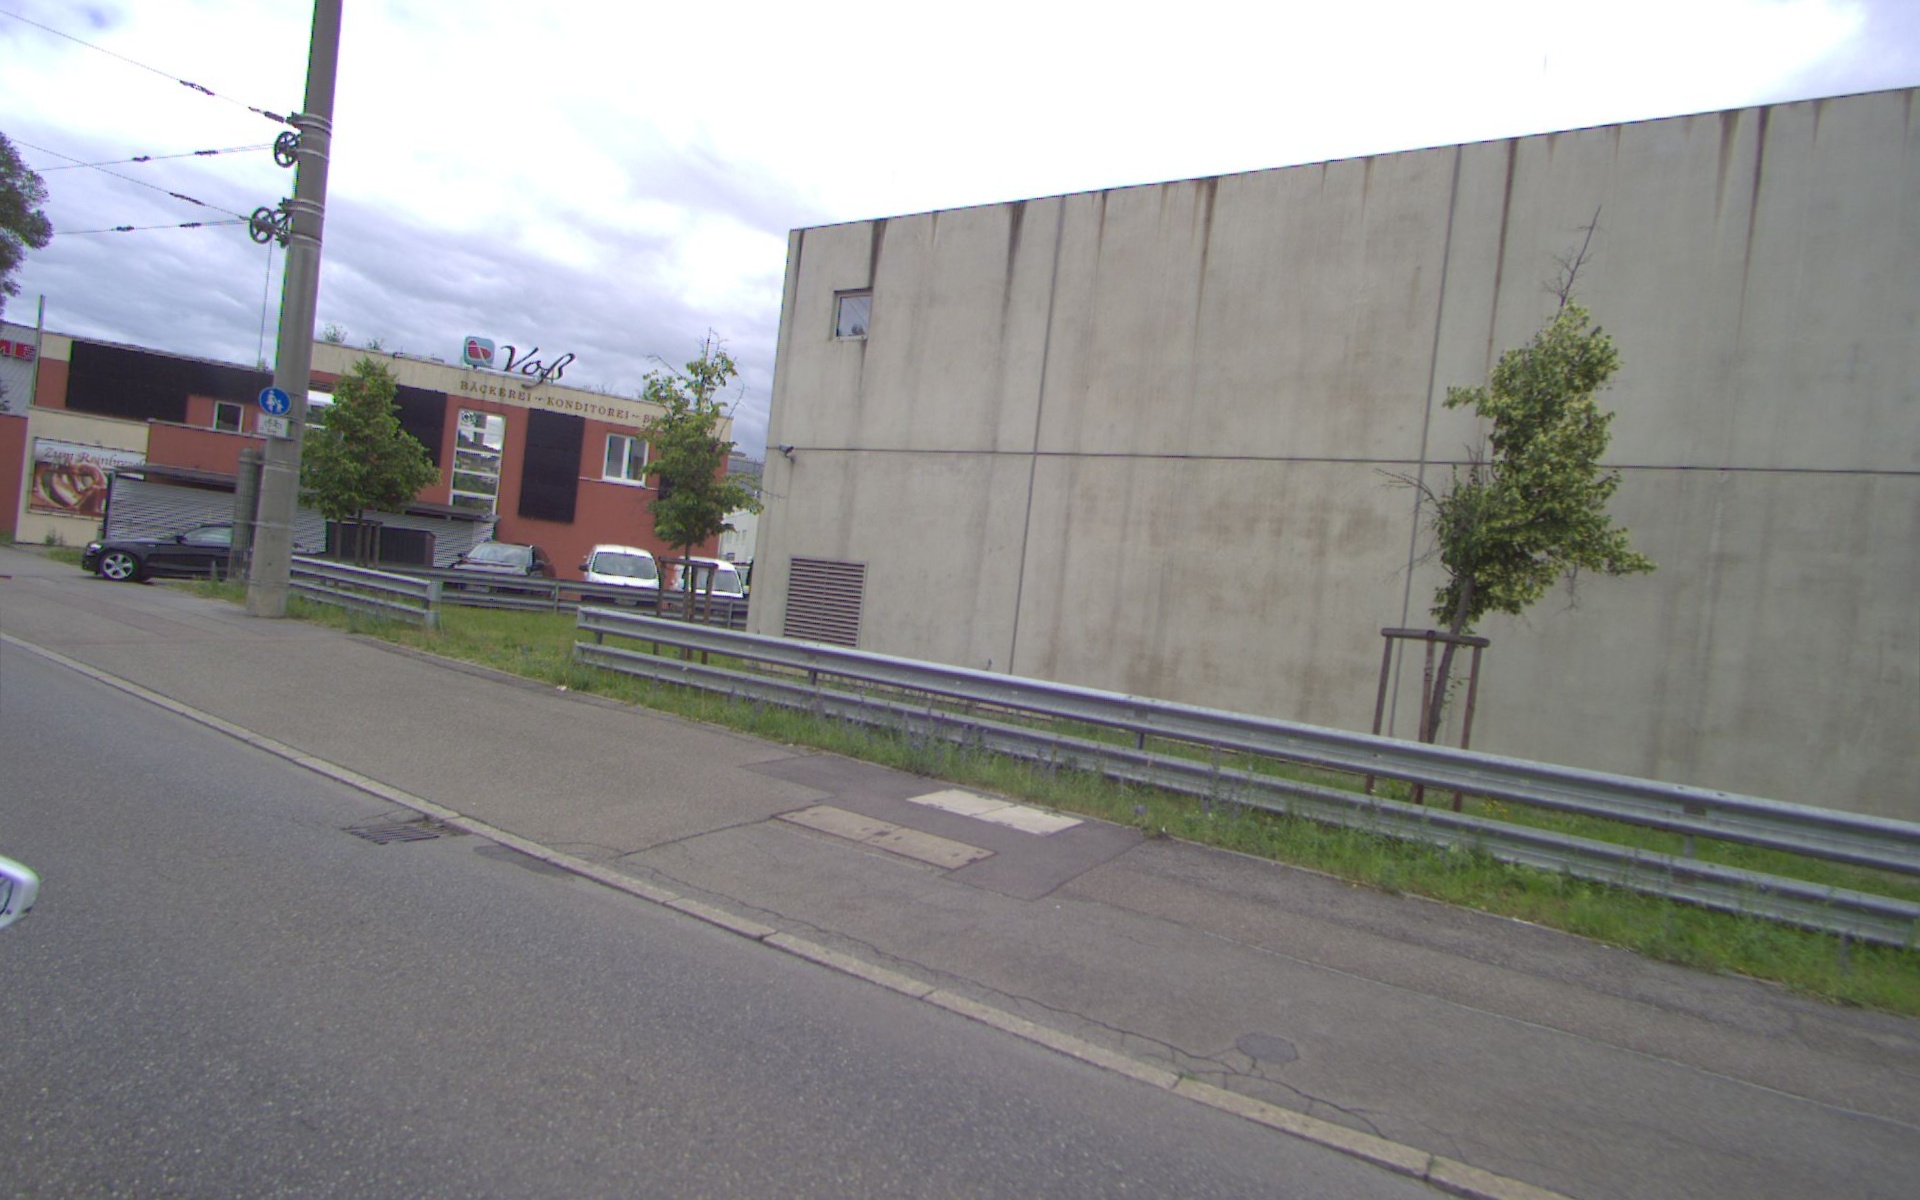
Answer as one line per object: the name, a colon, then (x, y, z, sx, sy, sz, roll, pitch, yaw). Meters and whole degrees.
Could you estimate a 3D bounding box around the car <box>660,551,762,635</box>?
car: (-6.679, -0.240, 26.627, 1.794, 1.854, 4.417, 7, 0, -23)

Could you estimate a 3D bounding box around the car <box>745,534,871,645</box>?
car: (-4.382, -0.335, 28.186, 2.067, 2.621, 5.396, 6, 0, -22)

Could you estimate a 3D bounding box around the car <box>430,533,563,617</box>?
car: (-11.217, -0.596, 24.678, 2.129, 1.566, 4.505, 8, -1, -16)

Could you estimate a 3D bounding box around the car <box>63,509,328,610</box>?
car: (-16.265, -0.832, 21.700, 4.188, 1.460, 1.750, 9, -1, -29)

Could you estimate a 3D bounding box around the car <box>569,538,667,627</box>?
car: (-8.731, -0.478, 25.441, 1.836, 1.854, 4.516, 6, 0, -23)
